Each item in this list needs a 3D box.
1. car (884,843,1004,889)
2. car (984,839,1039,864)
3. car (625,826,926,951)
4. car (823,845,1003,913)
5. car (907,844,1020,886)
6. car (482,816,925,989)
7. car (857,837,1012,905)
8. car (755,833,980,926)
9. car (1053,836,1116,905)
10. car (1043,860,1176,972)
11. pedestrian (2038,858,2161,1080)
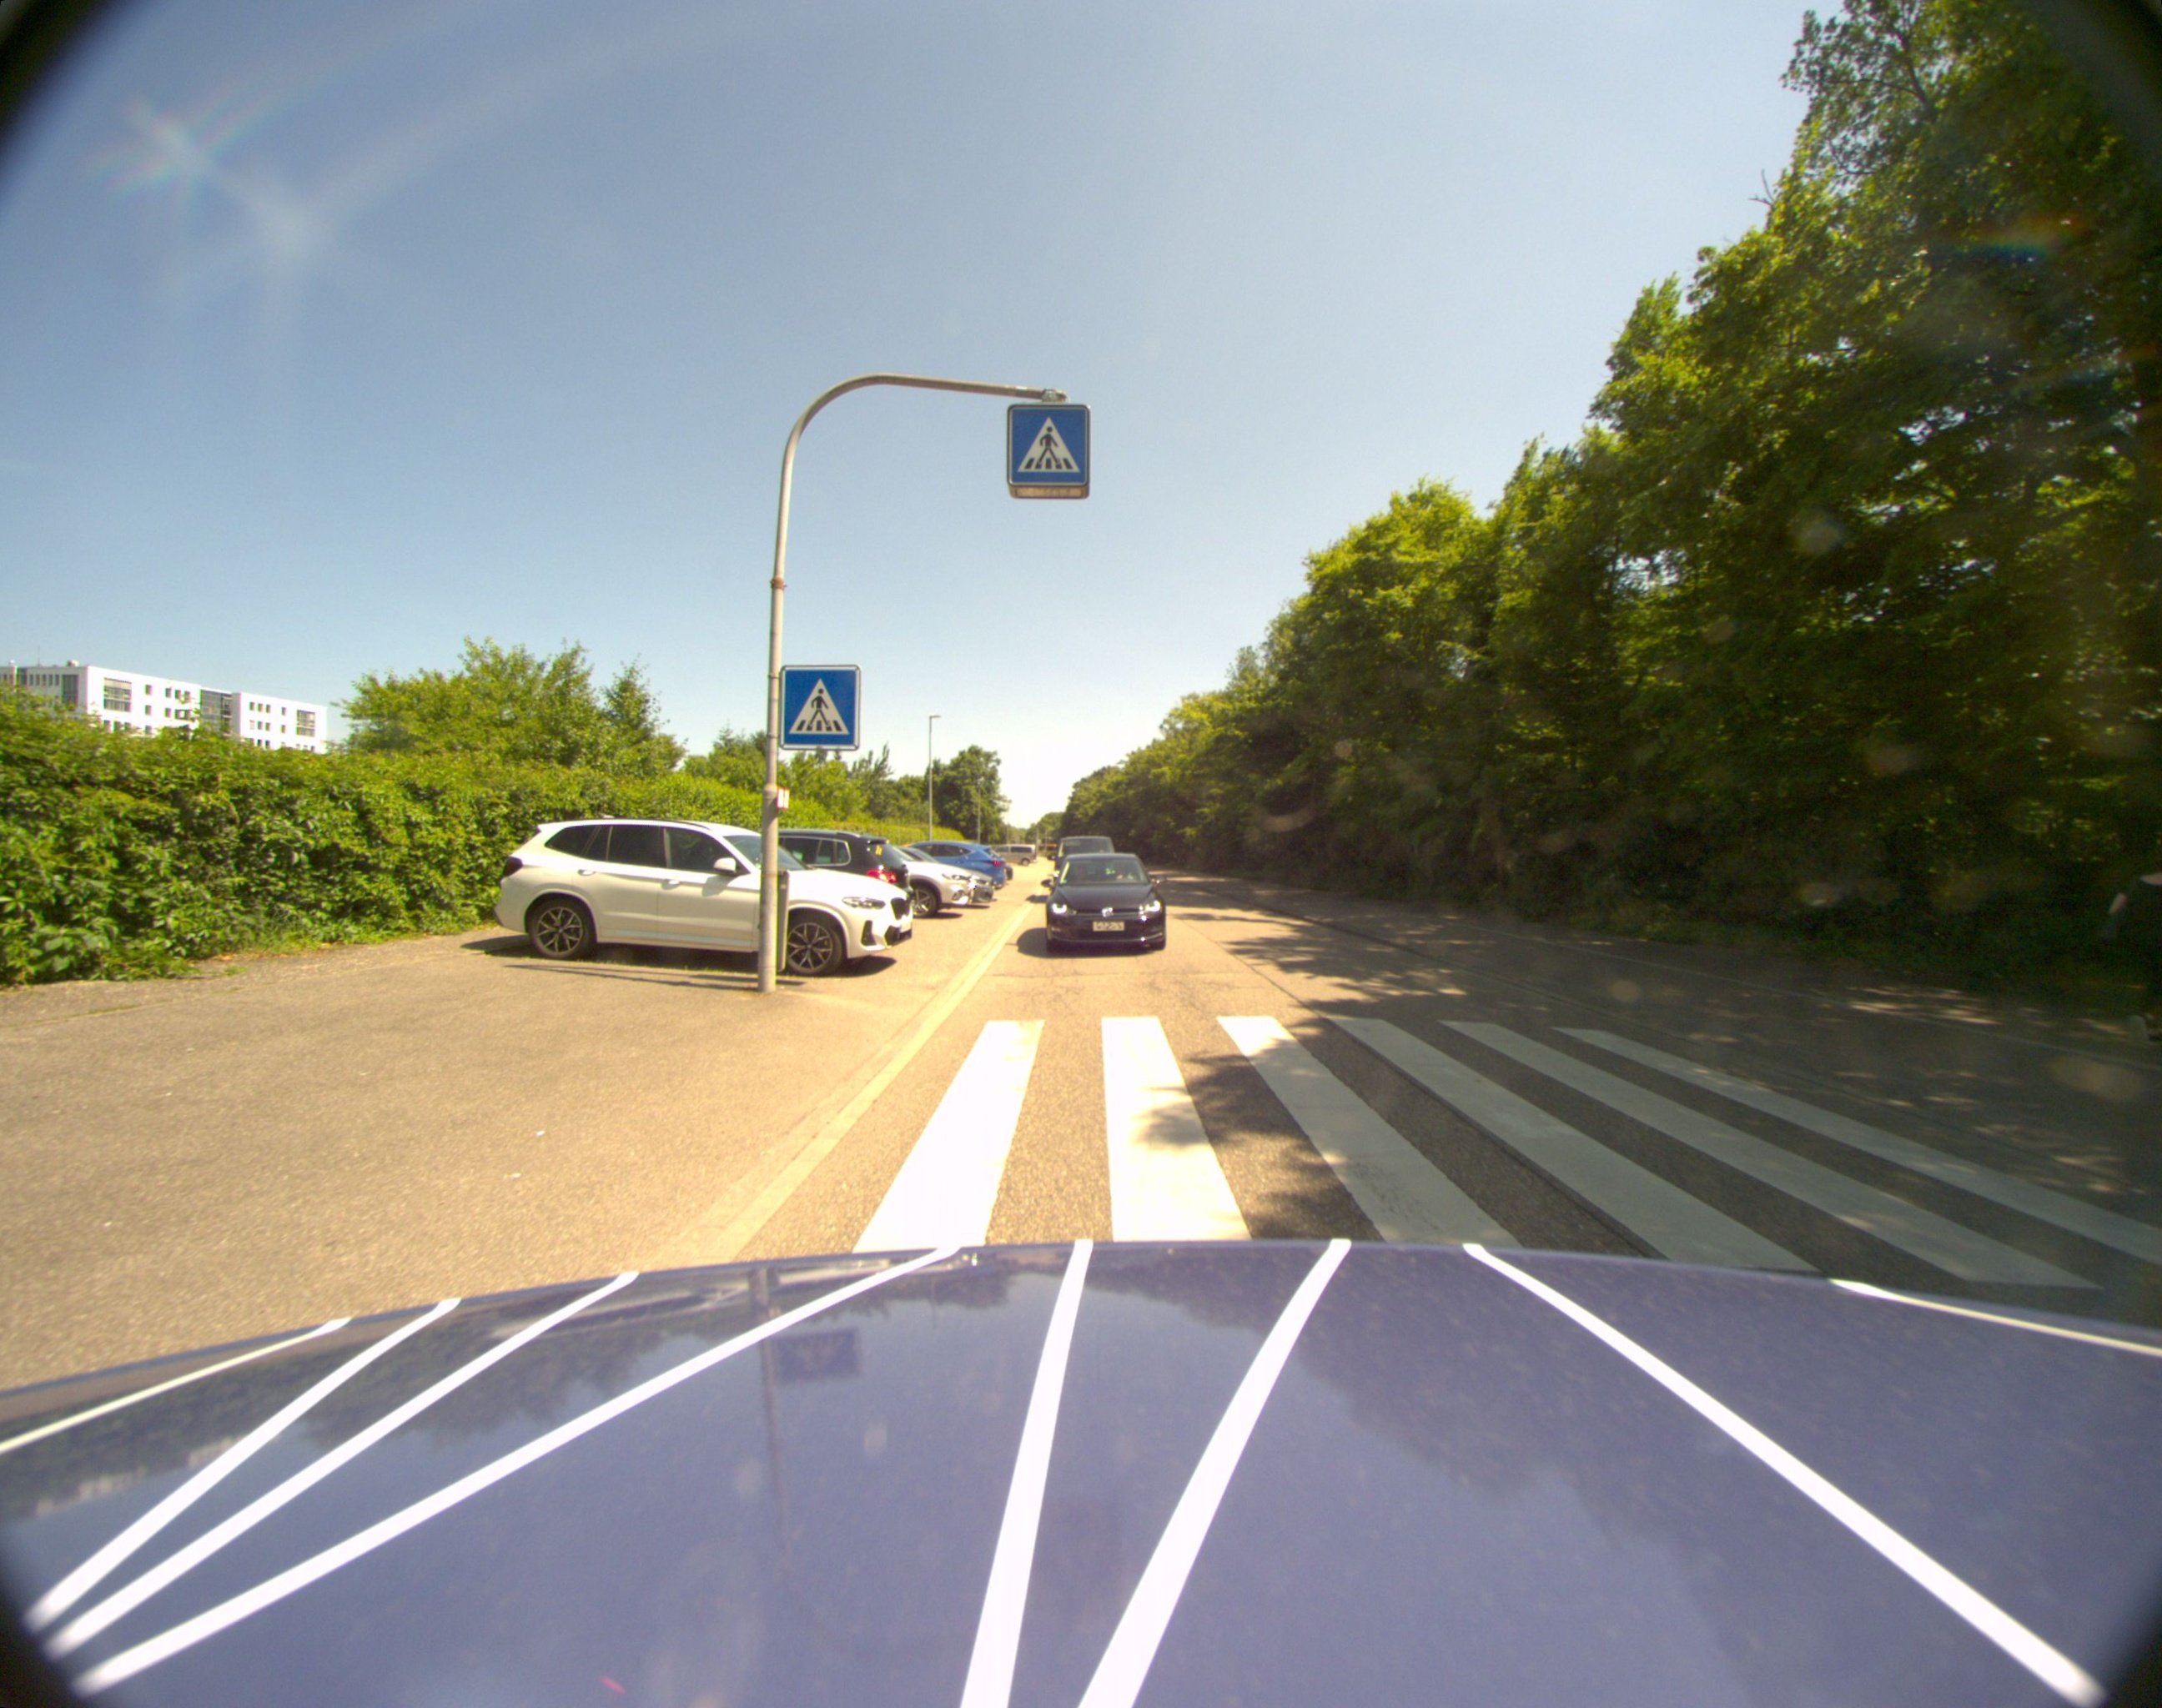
[{"bbox_3d":[-4.978,0.415,27.911,4.036,1.438,1.649,3,1,0],"label":"car"},{"bbox_3d":[-5.891,-0.180,64.381,4.493,1.840,1.694,3,1,-4],"label":"car"},{"bbox_3d":[-4.653,0.497,11.990,3.982,1.676,1.766,2,1,0],"label":"car"},{"bbox_3d":[-4.075,0.587,18.859,4.036,1.401,1.679,3,1,-1],"label":"car"},{"bbox_3d":[-4.707,0.420,30.821,4.251,1.410,1.649,3,1,0],"label":"car"},{"bbox_3d":[-4.377,0.508,9.301,4.464,1.720,1.851,2,2,1],"label":"car"},{"bbox_3d":[-4.121,0.459,21.769,4.036,1.632,1.673,3,1,0],"label":"car"},{"bbox_3d":[-4.350,0.491,15.974,4.170,1.632,1.775,3,1,-2],"label":"car"},{"bbox_3d":[0.075,0.436,23.334,1.743,1.905,4.387,-1,1,-1],"label":"car"},{"bbox_3d":[0.350,0.835,12.235,1.743,1.396,4.387,-1,1,-1],"label":"car"},{"bbox_3d":[8.367,0.852,5.914,0.896,1.602,0.780,-2,2,-7],"label":"pedestrian"}]
